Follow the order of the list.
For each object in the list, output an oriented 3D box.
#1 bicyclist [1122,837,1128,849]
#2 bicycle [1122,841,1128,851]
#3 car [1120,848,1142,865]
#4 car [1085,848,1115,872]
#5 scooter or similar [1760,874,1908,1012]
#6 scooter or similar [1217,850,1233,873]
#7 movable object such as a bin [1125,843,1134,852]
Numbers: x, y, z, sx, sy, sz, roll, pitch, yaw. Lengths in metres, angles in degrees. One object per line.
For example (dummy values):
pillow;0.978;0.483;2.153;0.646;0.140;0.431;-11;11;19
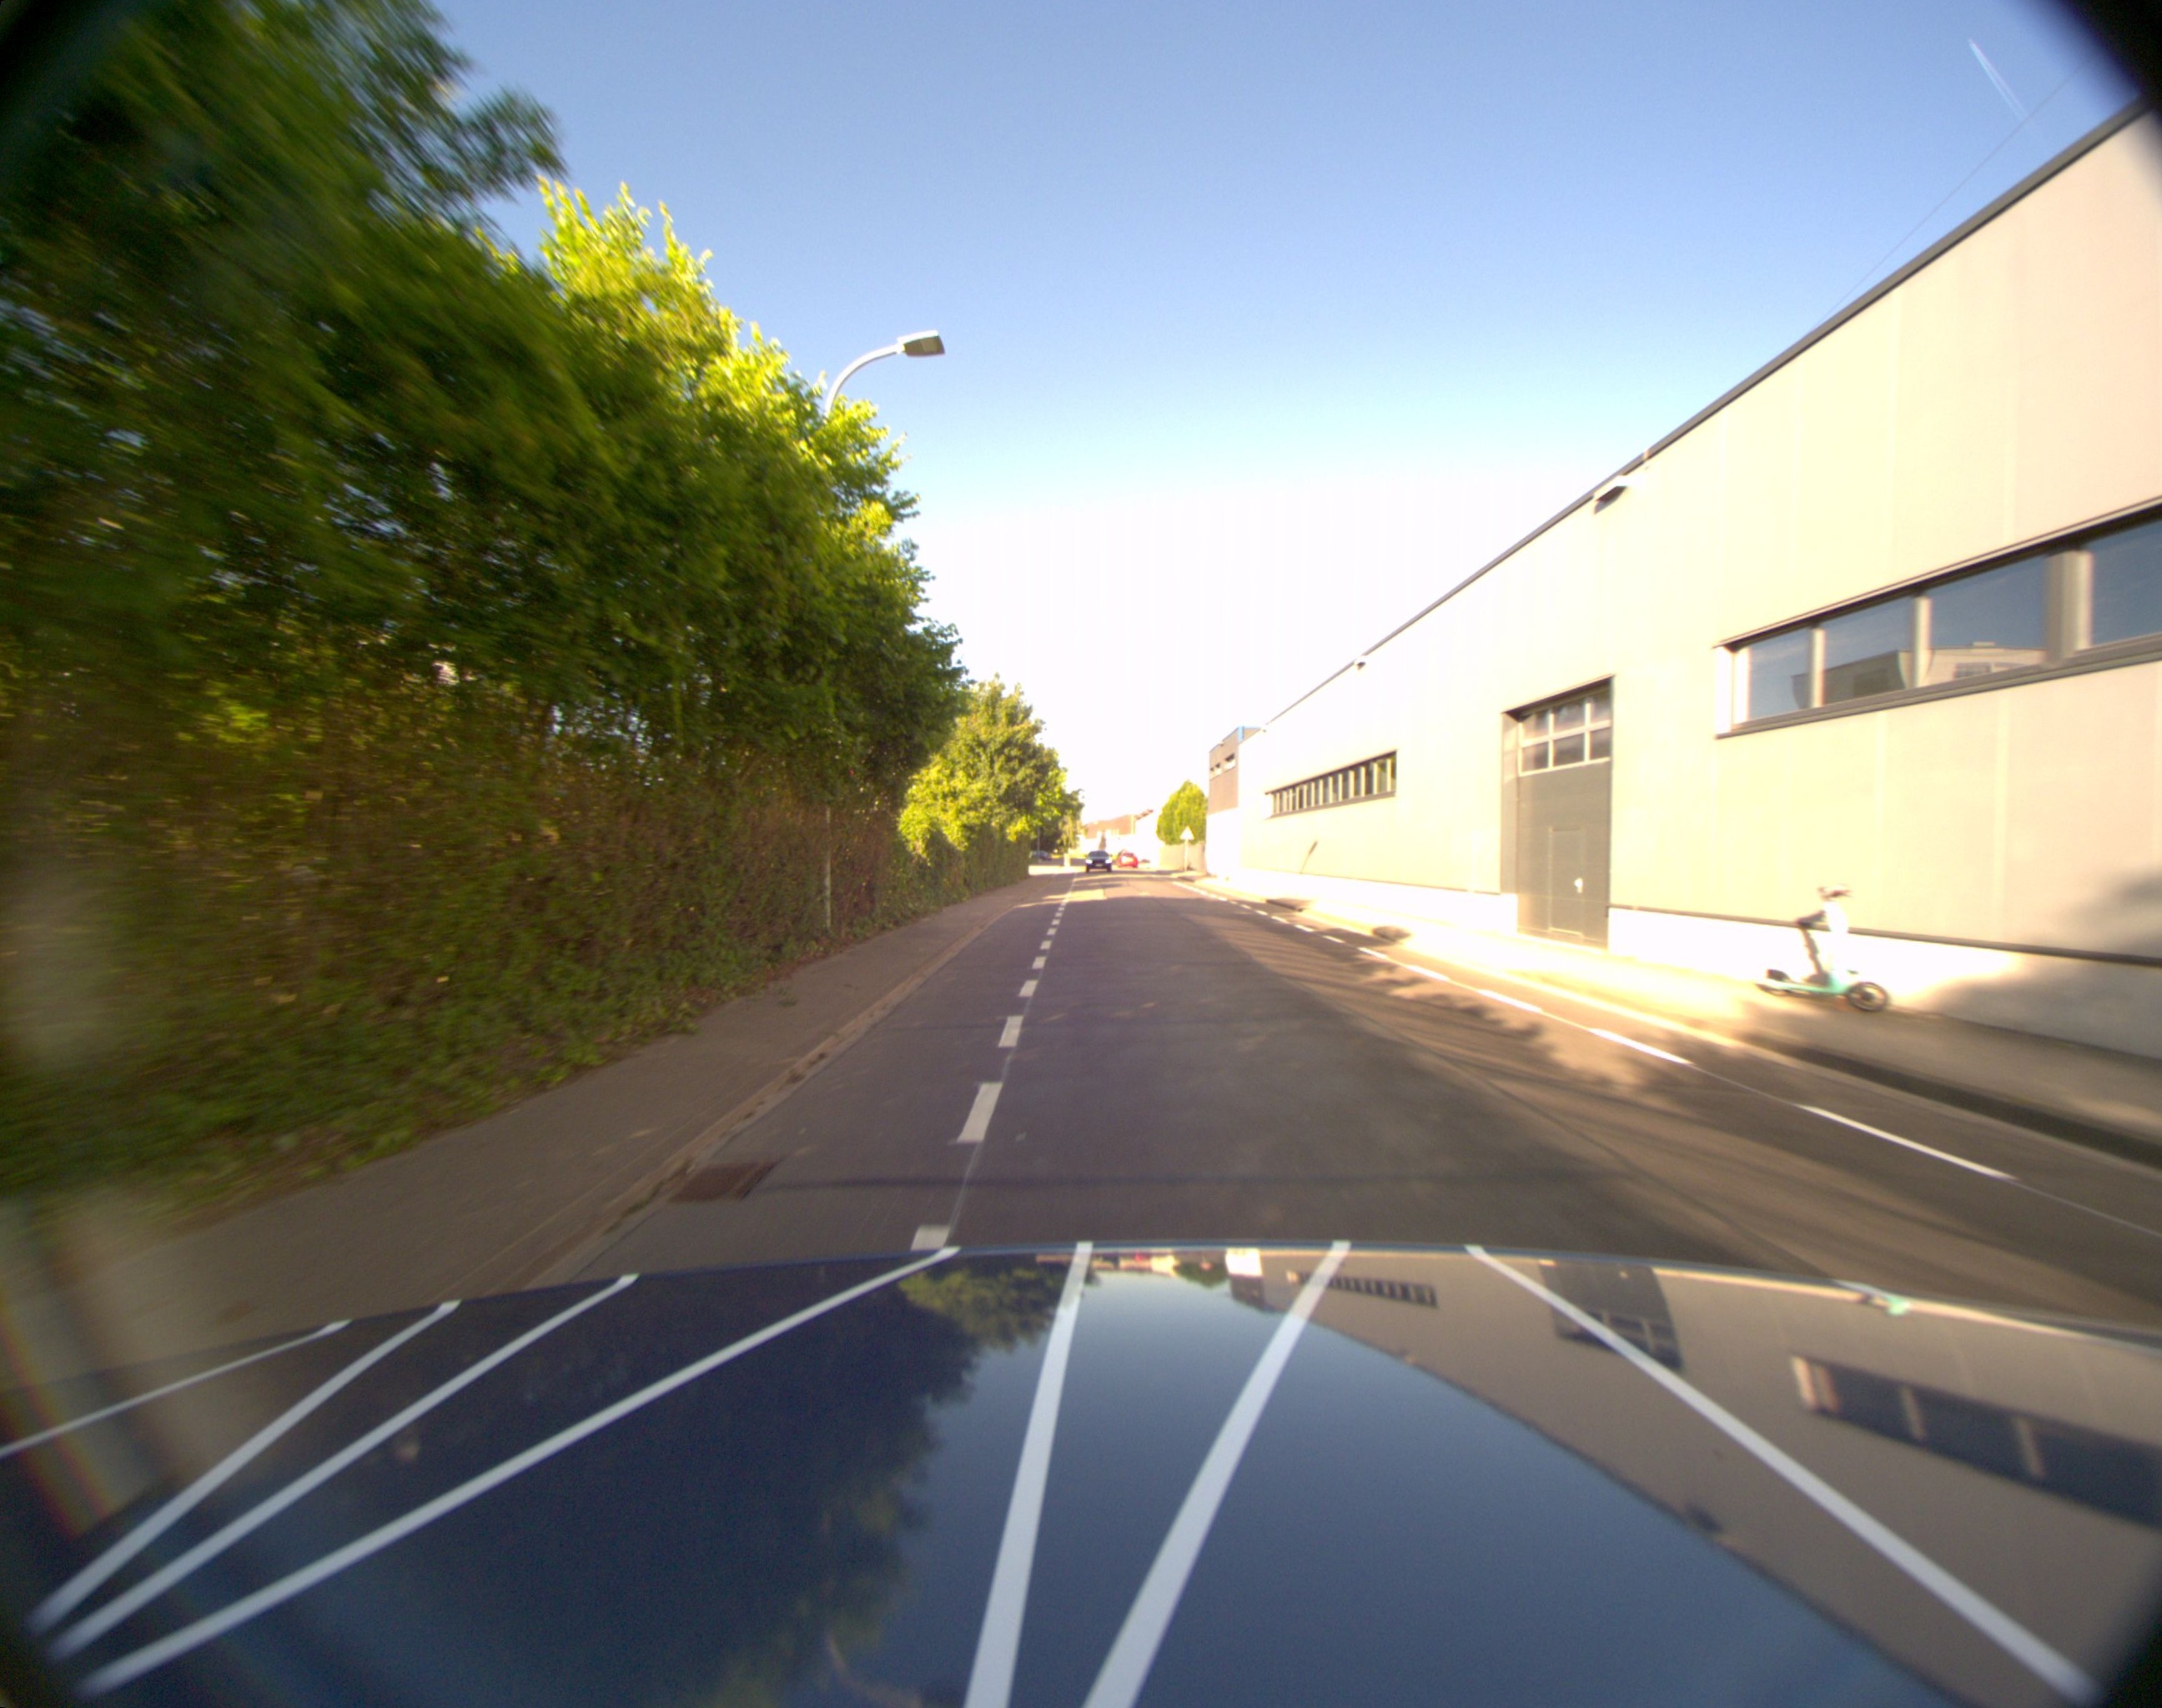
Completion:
bicyclist;6.122;-1.519;105.114;0.748;1.619;0.833;1;1;-1
bicycle;6.127;-1.109;105.125;0.669;1.281;2.172;1;1;-1
car;4.694;0.232;71.571;1.724;1.531;4.076;3;0;1
car;1.419;0.407;58.538;2.037;1.624;4.611;-3;2;-1
scooter or similar;7.556;0.856;7.678;0.417;1.260;1.059;0;1;0
scooter or similar;7.992;0.388;42.221;0.508;1.196;1.753;-3;1;1
movable object such as a bin;7.881;-1.107;123.741;1.203;1.463;1.371;0;1;-11
